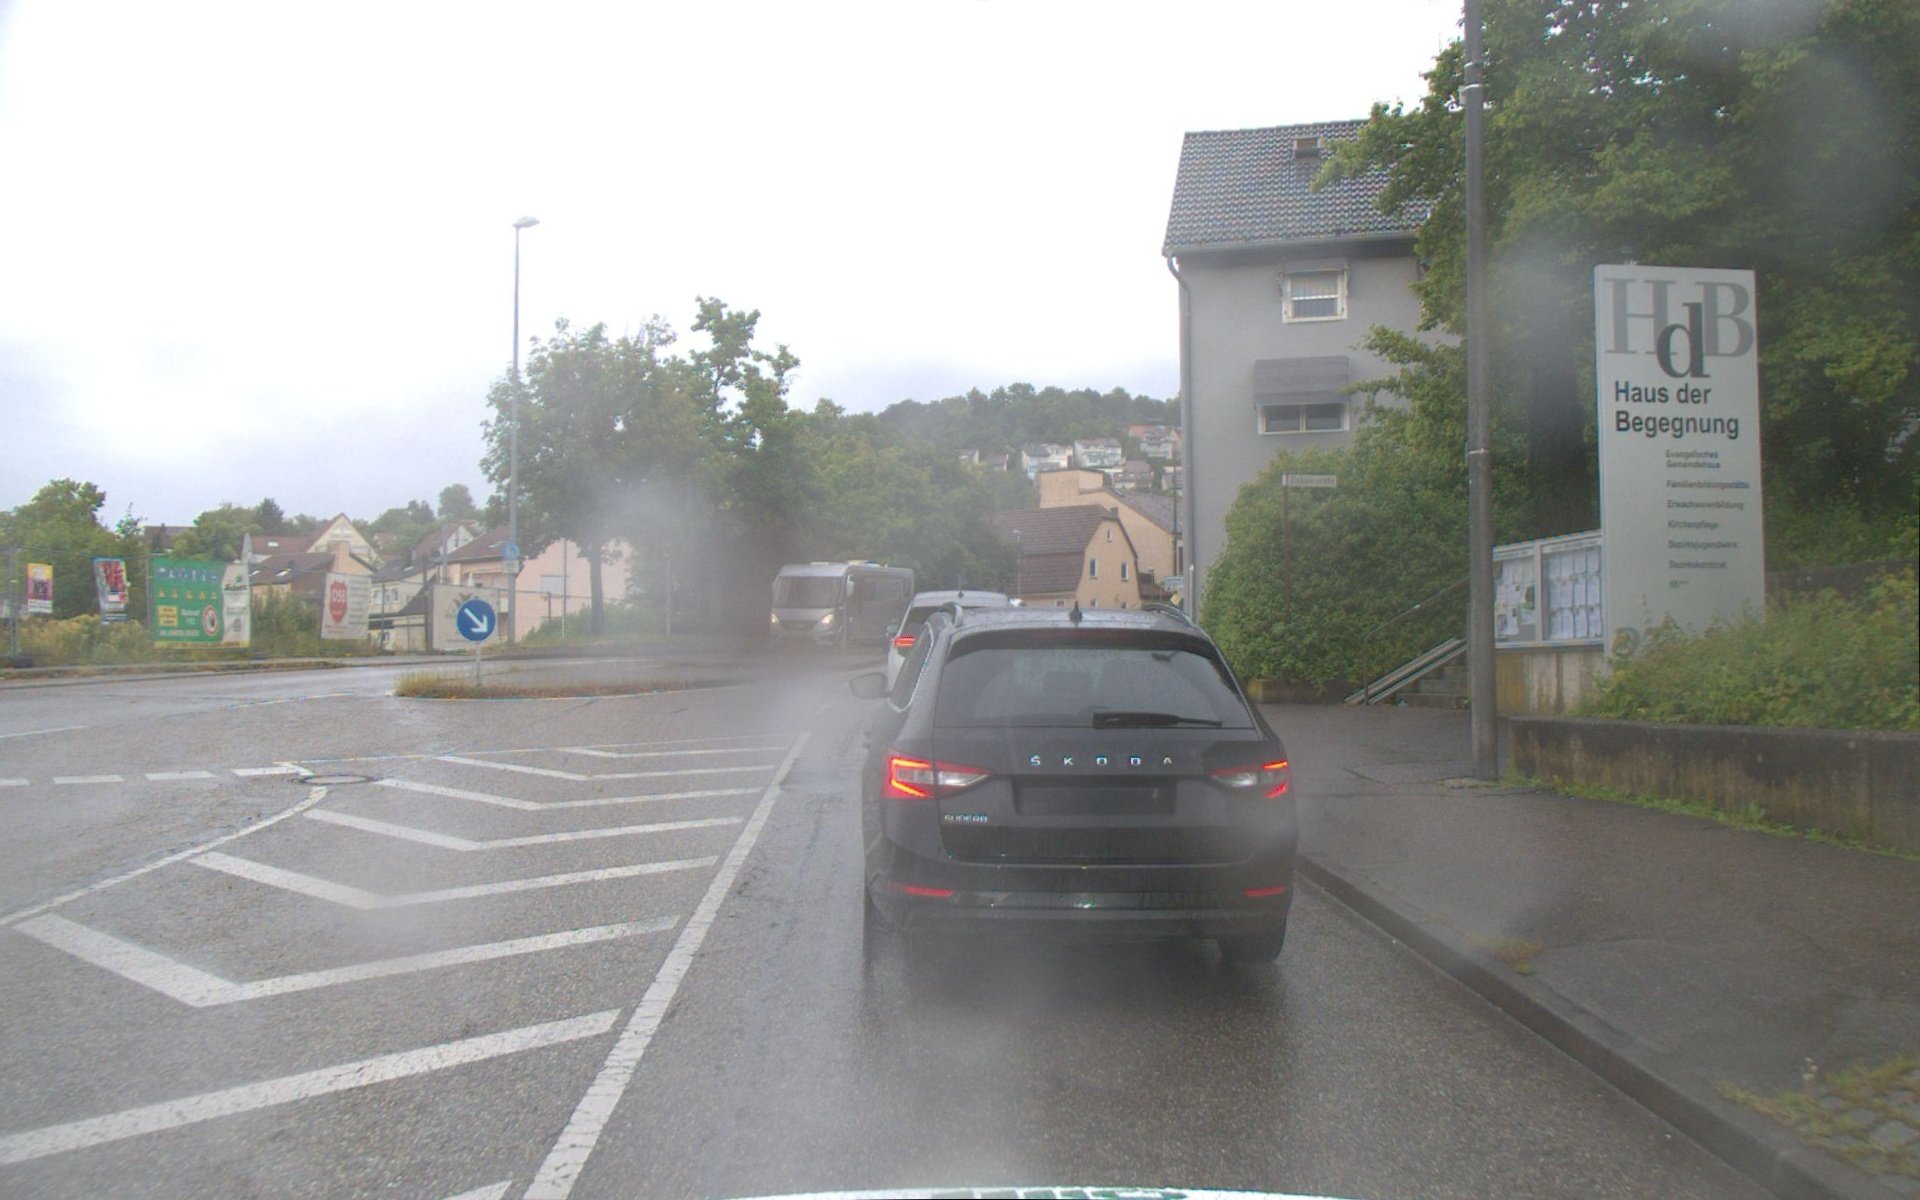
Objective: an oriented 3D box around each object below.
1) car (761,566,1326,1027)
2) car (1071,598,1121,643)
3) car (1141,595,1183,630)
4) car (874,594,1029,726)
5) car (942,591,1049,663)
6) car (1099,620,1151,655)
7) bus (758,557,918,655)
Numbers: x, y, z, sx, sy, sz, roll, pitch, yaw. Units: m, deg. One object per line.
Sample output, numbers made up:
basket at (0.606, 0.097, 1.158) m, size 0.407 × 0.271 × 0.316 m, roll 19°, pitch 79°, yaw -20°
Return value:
car at (0.221, 0.717, 8.039) m, size 1.915 × 1.534 × 4.606 m, roll 2°, pitch -1°, yaw -2°
car at (4.964, 0.722, 60.038) m, size 1.534 × 1.557 × 4.003 m, roll 0°, pitch 0°, yaw 8°
car at (12.271, 0.769, 100.680) m, size 1.953 × 2.049 × 3.999 m, roll 1°, pitch -1°, yaw -1°
car at (-0.044, 0.724, 21.232) m, size 1.791 × 1.526 × 4.169 m, roll 0°, pitch -1°, yaw 2°
car at (0.816, 0.570, 34.968) m, size 1.808 × 1.434 × 4.304 m, roll 0°, pitch -1°, yaw 7°
car at (7.650, 1.738, 76.483) m, size 1.951 × 1.478 × 3.774 m, roll -3°, pitch -1°, yaw 11°
bus at (-3.507, 0.161, 49.674) m, size 2.346 × 2.723 × 7.051 m, roll -1°, pitch 0°, yaw 17°
